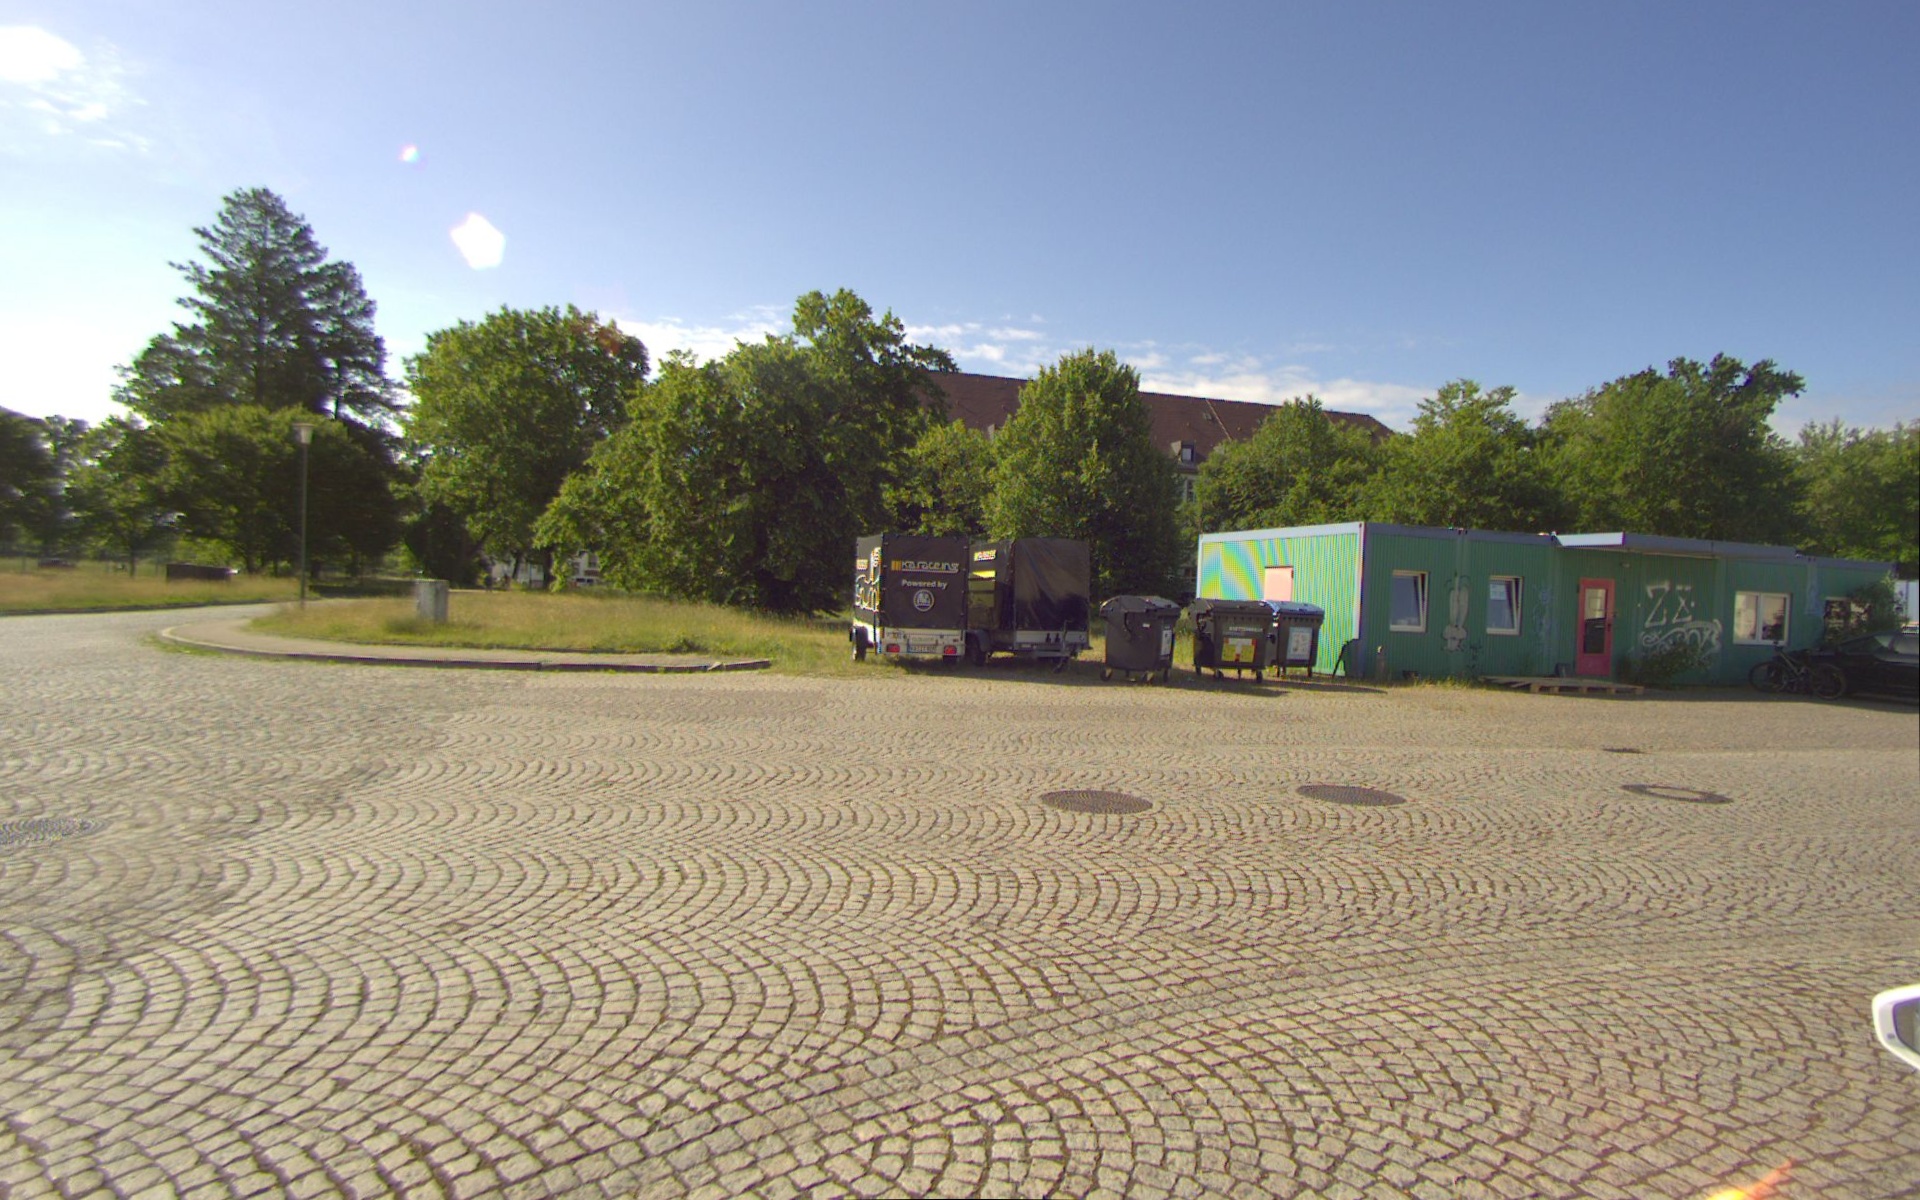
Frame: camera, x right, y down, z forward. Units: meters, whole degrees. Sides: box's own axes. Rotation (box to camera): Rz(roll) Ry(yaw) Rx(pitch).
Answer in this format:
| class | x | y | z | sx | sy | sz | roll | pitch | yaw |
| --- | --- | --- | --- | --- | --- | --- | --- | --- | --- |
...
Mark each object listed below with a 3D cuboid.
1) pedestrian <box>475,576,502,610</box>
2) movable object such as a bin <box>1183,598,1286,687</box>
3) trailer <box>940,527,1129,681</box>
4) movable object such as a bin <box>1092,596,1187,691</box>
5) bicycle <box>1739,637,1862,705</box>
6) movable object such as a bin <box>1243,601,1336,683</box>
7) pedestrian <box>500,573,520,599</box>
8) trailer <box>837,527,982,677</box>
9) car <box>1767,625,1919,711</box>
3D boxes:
| class | x | y | z | sx | sy | sz | roll | pitch | yaw |
| --- | --- | --- | --- | --- | --- | --- | --- | --- | --- |
| pedestrian | -27.734 | -0.408 | 59.135 | 1.140 | 1.954 | 1.124 | 3 | 1 | -14 |
| movable object such as a bin | 4.944 | 0.756 | 18.158 | 1.417 | 1.477 | 1.017 | 3 | 1 | -16 |
| trailer | 1.271 | 0.019 | 19.603 | 1.921 | 2.602 | 4.631 | 3 | 1 | -19 |
| movable object such as a bin | 3.073 | 0.709 | 17.111 | 1.135 | 1.477 | 1.437 | 4 | 1 | 28 |
| bicycle | 17.007 | 1.409 | 20.375 | 0.658 | 1.186 | 1.802 | 3 | 1 | -17 |
| movable object such as a bin | 6.341 | 0.802 | 19.336 | 1.422 | 1.477 | 0.879 | 2 | 1 | -26 |
| pedestrian | -35.546 | -1.118 | 79.298 | 1.140 | 1.954 | 1.320 | 3 | 1 | -14 |
| trailer | -1.056 | 0.003 | 18.971 | 2.010 | 2.503 | 3.385 | 3 | 1 | -14 |
| car | 18.979 | 1.393 | 19.929 | 1.900 | 1.469 | 4.249 | 3 | 1 | -17 |
